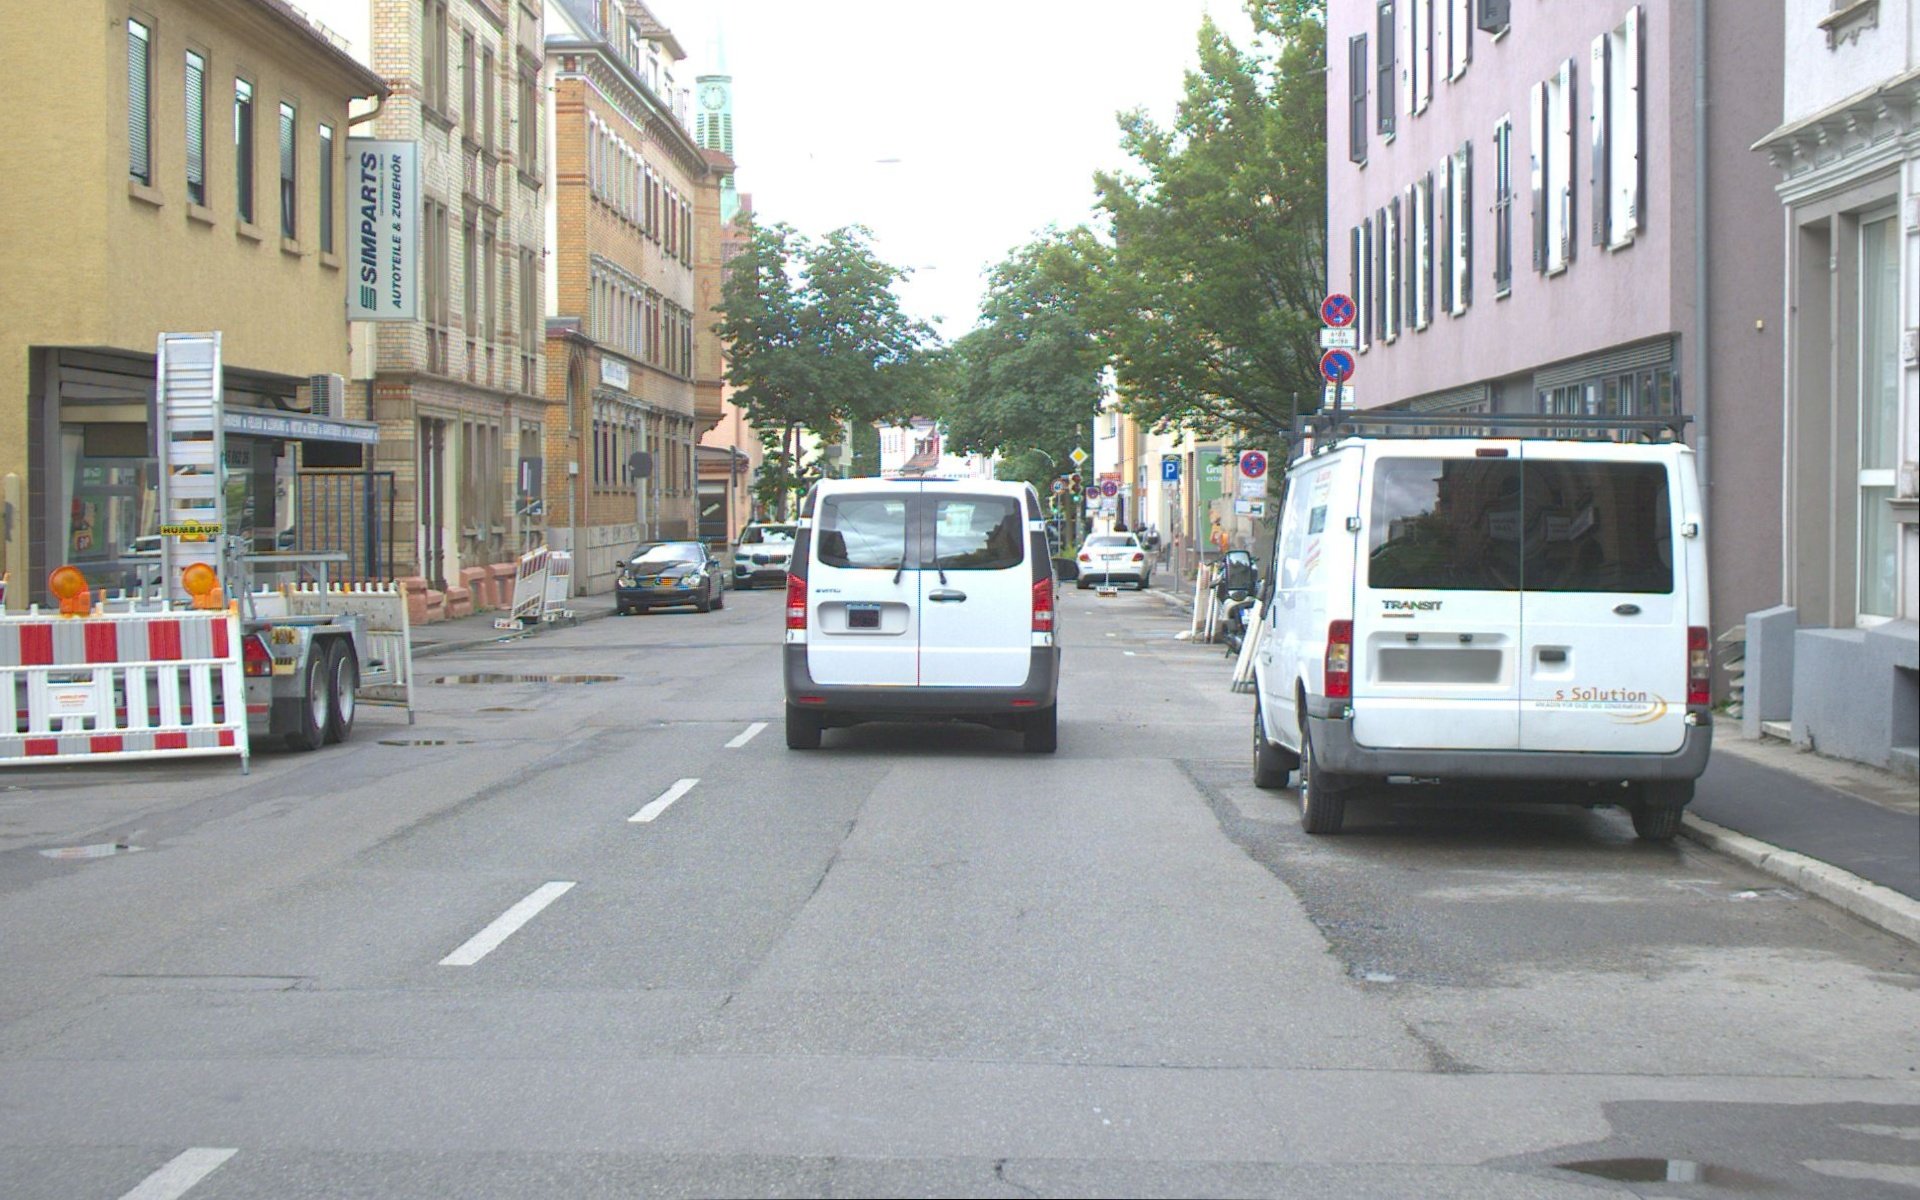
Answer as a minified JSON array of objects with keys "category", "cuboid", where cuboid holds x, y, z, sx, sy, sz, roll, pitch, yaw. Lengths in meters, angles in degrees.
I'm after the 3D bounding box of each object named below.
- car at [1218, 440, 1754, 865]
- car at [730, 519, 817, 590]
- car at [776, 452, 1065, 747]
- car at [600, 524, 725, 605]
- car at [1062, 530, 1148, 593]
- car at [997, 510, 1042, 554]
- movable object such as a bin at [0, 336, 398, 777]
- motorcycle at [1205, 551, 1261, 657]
[{"category":"car","cuboid":[2.725,0.196,19.059,2.128,1.998,4.926,2,1,0]},{"category":"car","cuboid":[-4.843,-1.202,89.843,1.993,1.735,4.000,2,1,0]},{"category":"car","cuboid":[-0.362,-0.039,24.948,1.891,1.922,4.646,0,1,-3]},{"category":"car","cuboid":[-5.585,-0.699,64.969,1.993,1.437,4.000,-1,1,0]},{"category":"car","cuboid":[3.764,-1.025,89.664,1.993,1.480,4.000,4,1,0]},{"category":"car","cuboid":[2.793,-3.151,161.021,1.994,2.007,4.000,0,0,2]},{"category":"movable object such as a bin","cuboid":[-5.698,-0.327,24.548,2.537,2.815,4.539,-2,1,0]},{"category":"motorcycle","cuboid":[3.306,0.029,41.587,0.644,1.242,2.268,1,1,5]}]
